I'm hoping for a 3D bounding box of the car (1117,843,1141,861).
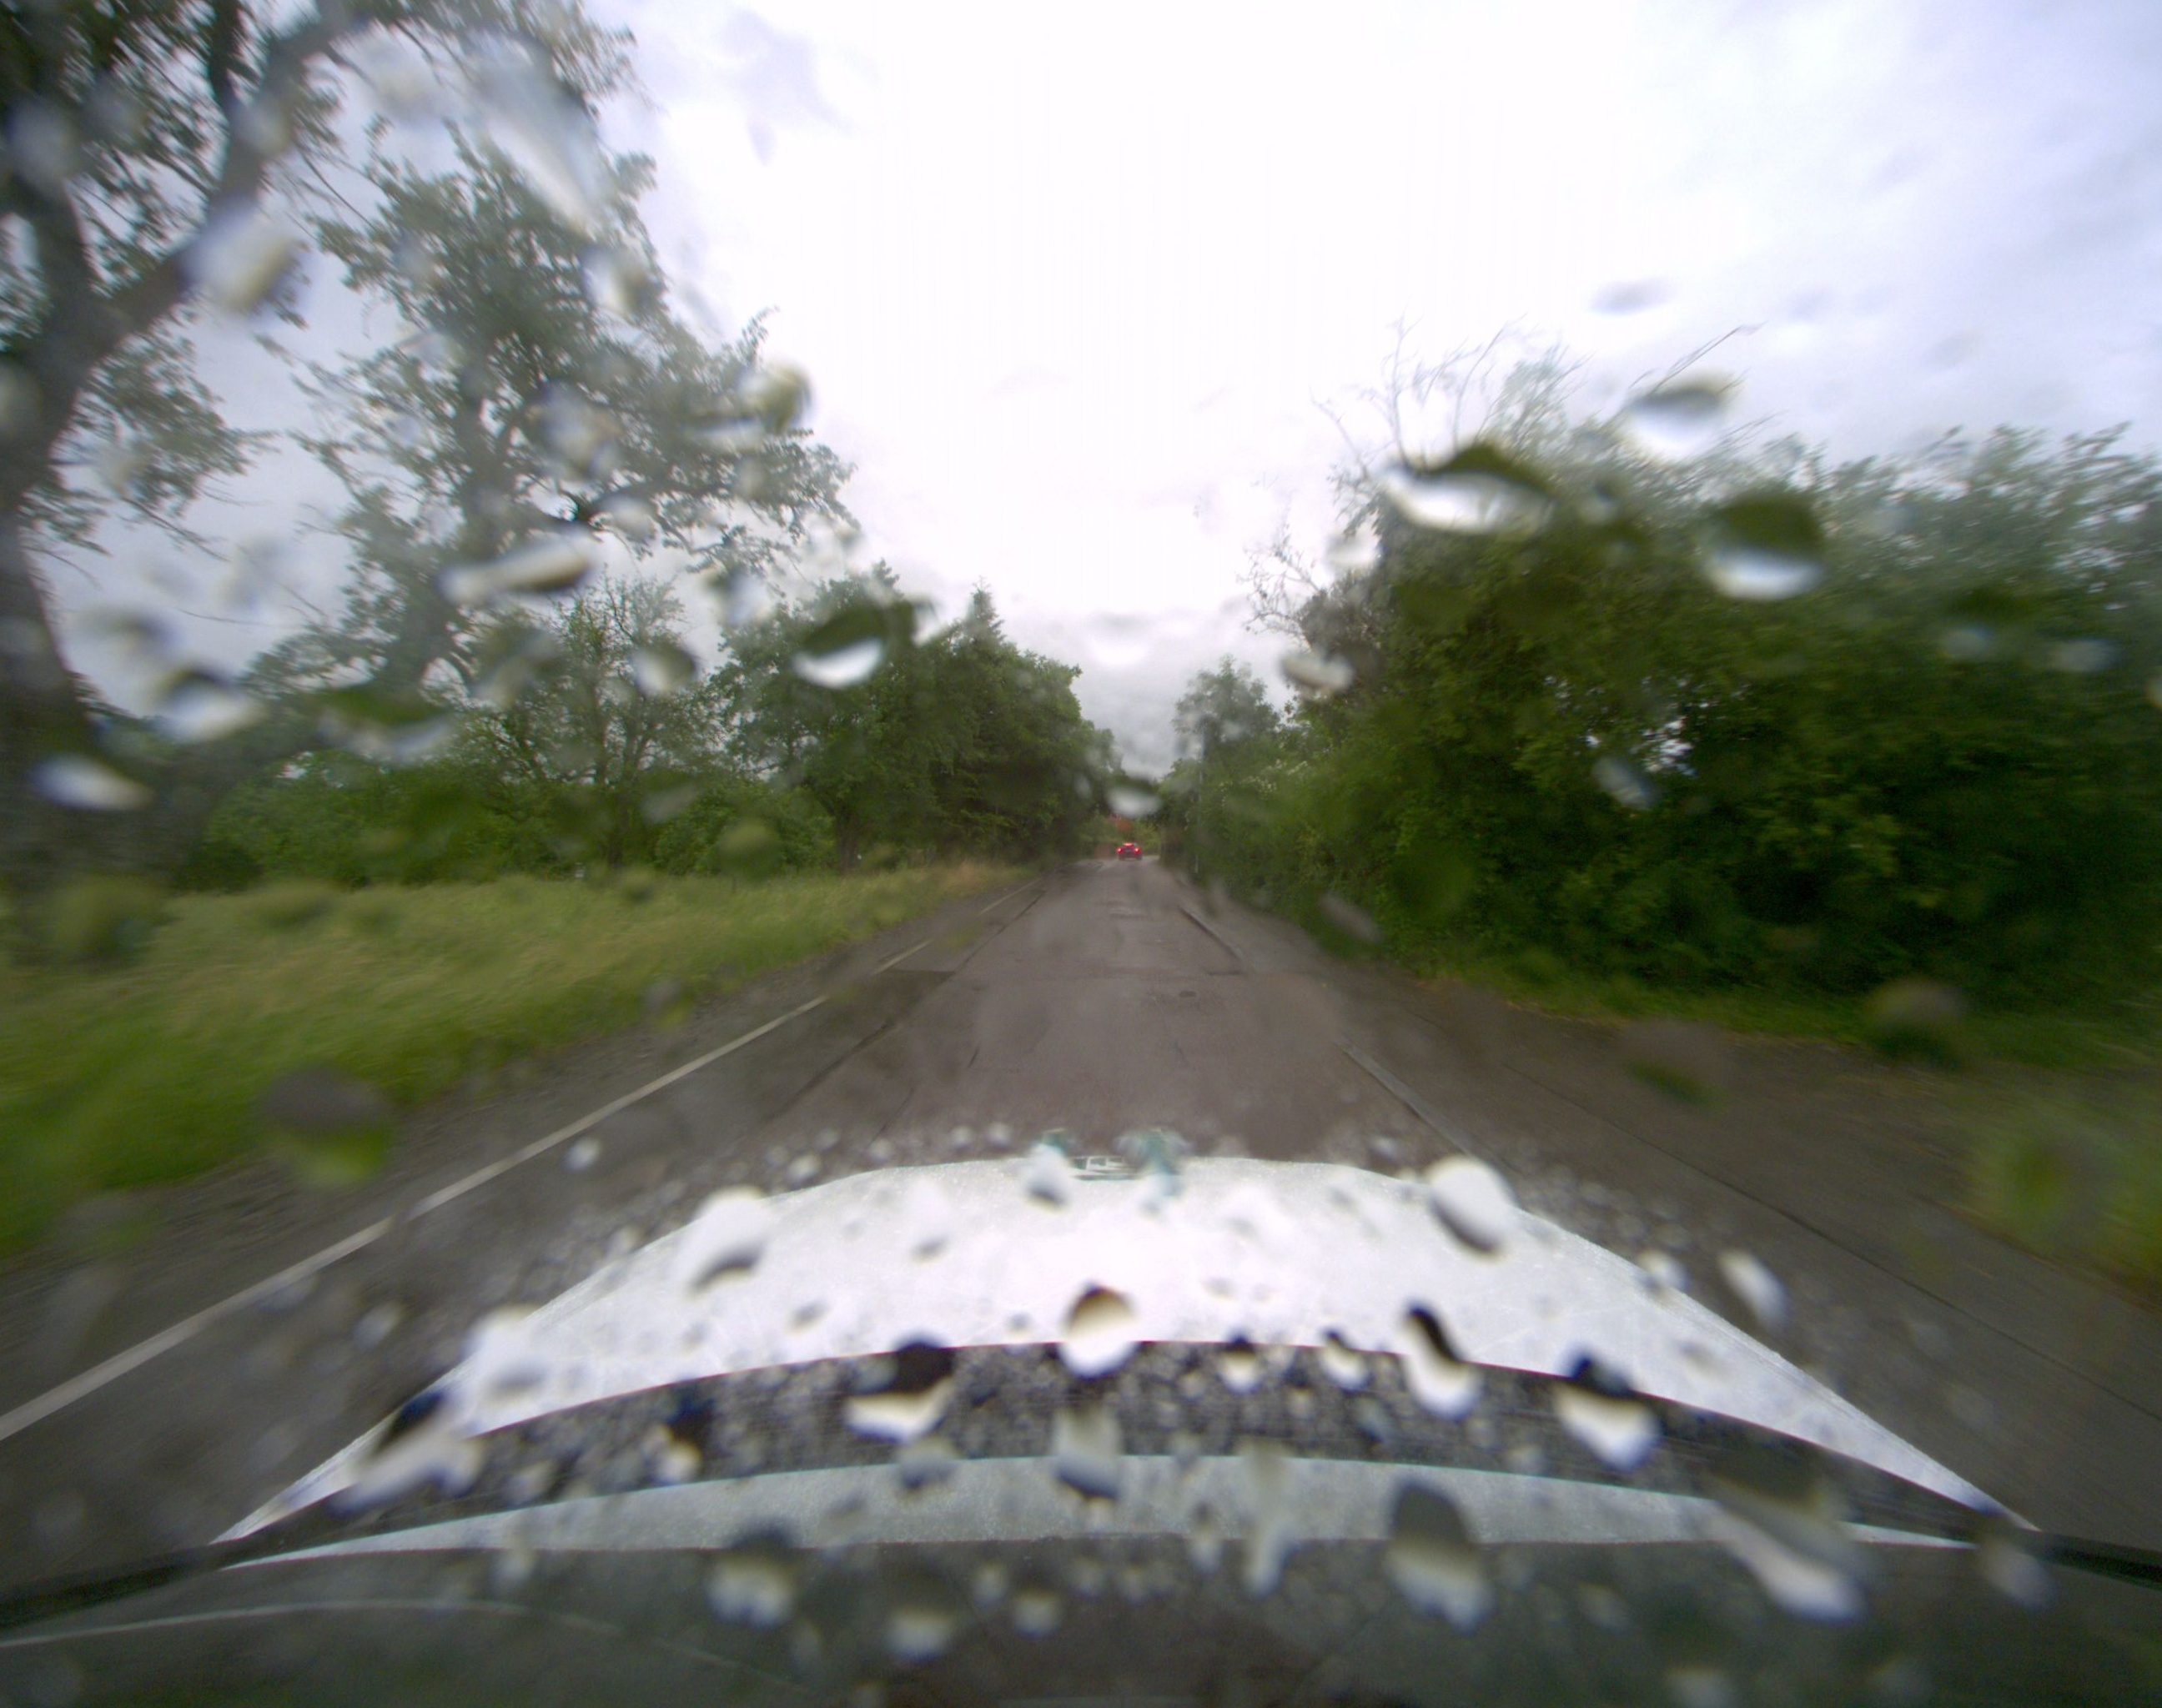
[{"bbox_3d":[4.150,-0.186,70.201,1.624,1.450,3.555,1,-1,11],"label":"car"}]
